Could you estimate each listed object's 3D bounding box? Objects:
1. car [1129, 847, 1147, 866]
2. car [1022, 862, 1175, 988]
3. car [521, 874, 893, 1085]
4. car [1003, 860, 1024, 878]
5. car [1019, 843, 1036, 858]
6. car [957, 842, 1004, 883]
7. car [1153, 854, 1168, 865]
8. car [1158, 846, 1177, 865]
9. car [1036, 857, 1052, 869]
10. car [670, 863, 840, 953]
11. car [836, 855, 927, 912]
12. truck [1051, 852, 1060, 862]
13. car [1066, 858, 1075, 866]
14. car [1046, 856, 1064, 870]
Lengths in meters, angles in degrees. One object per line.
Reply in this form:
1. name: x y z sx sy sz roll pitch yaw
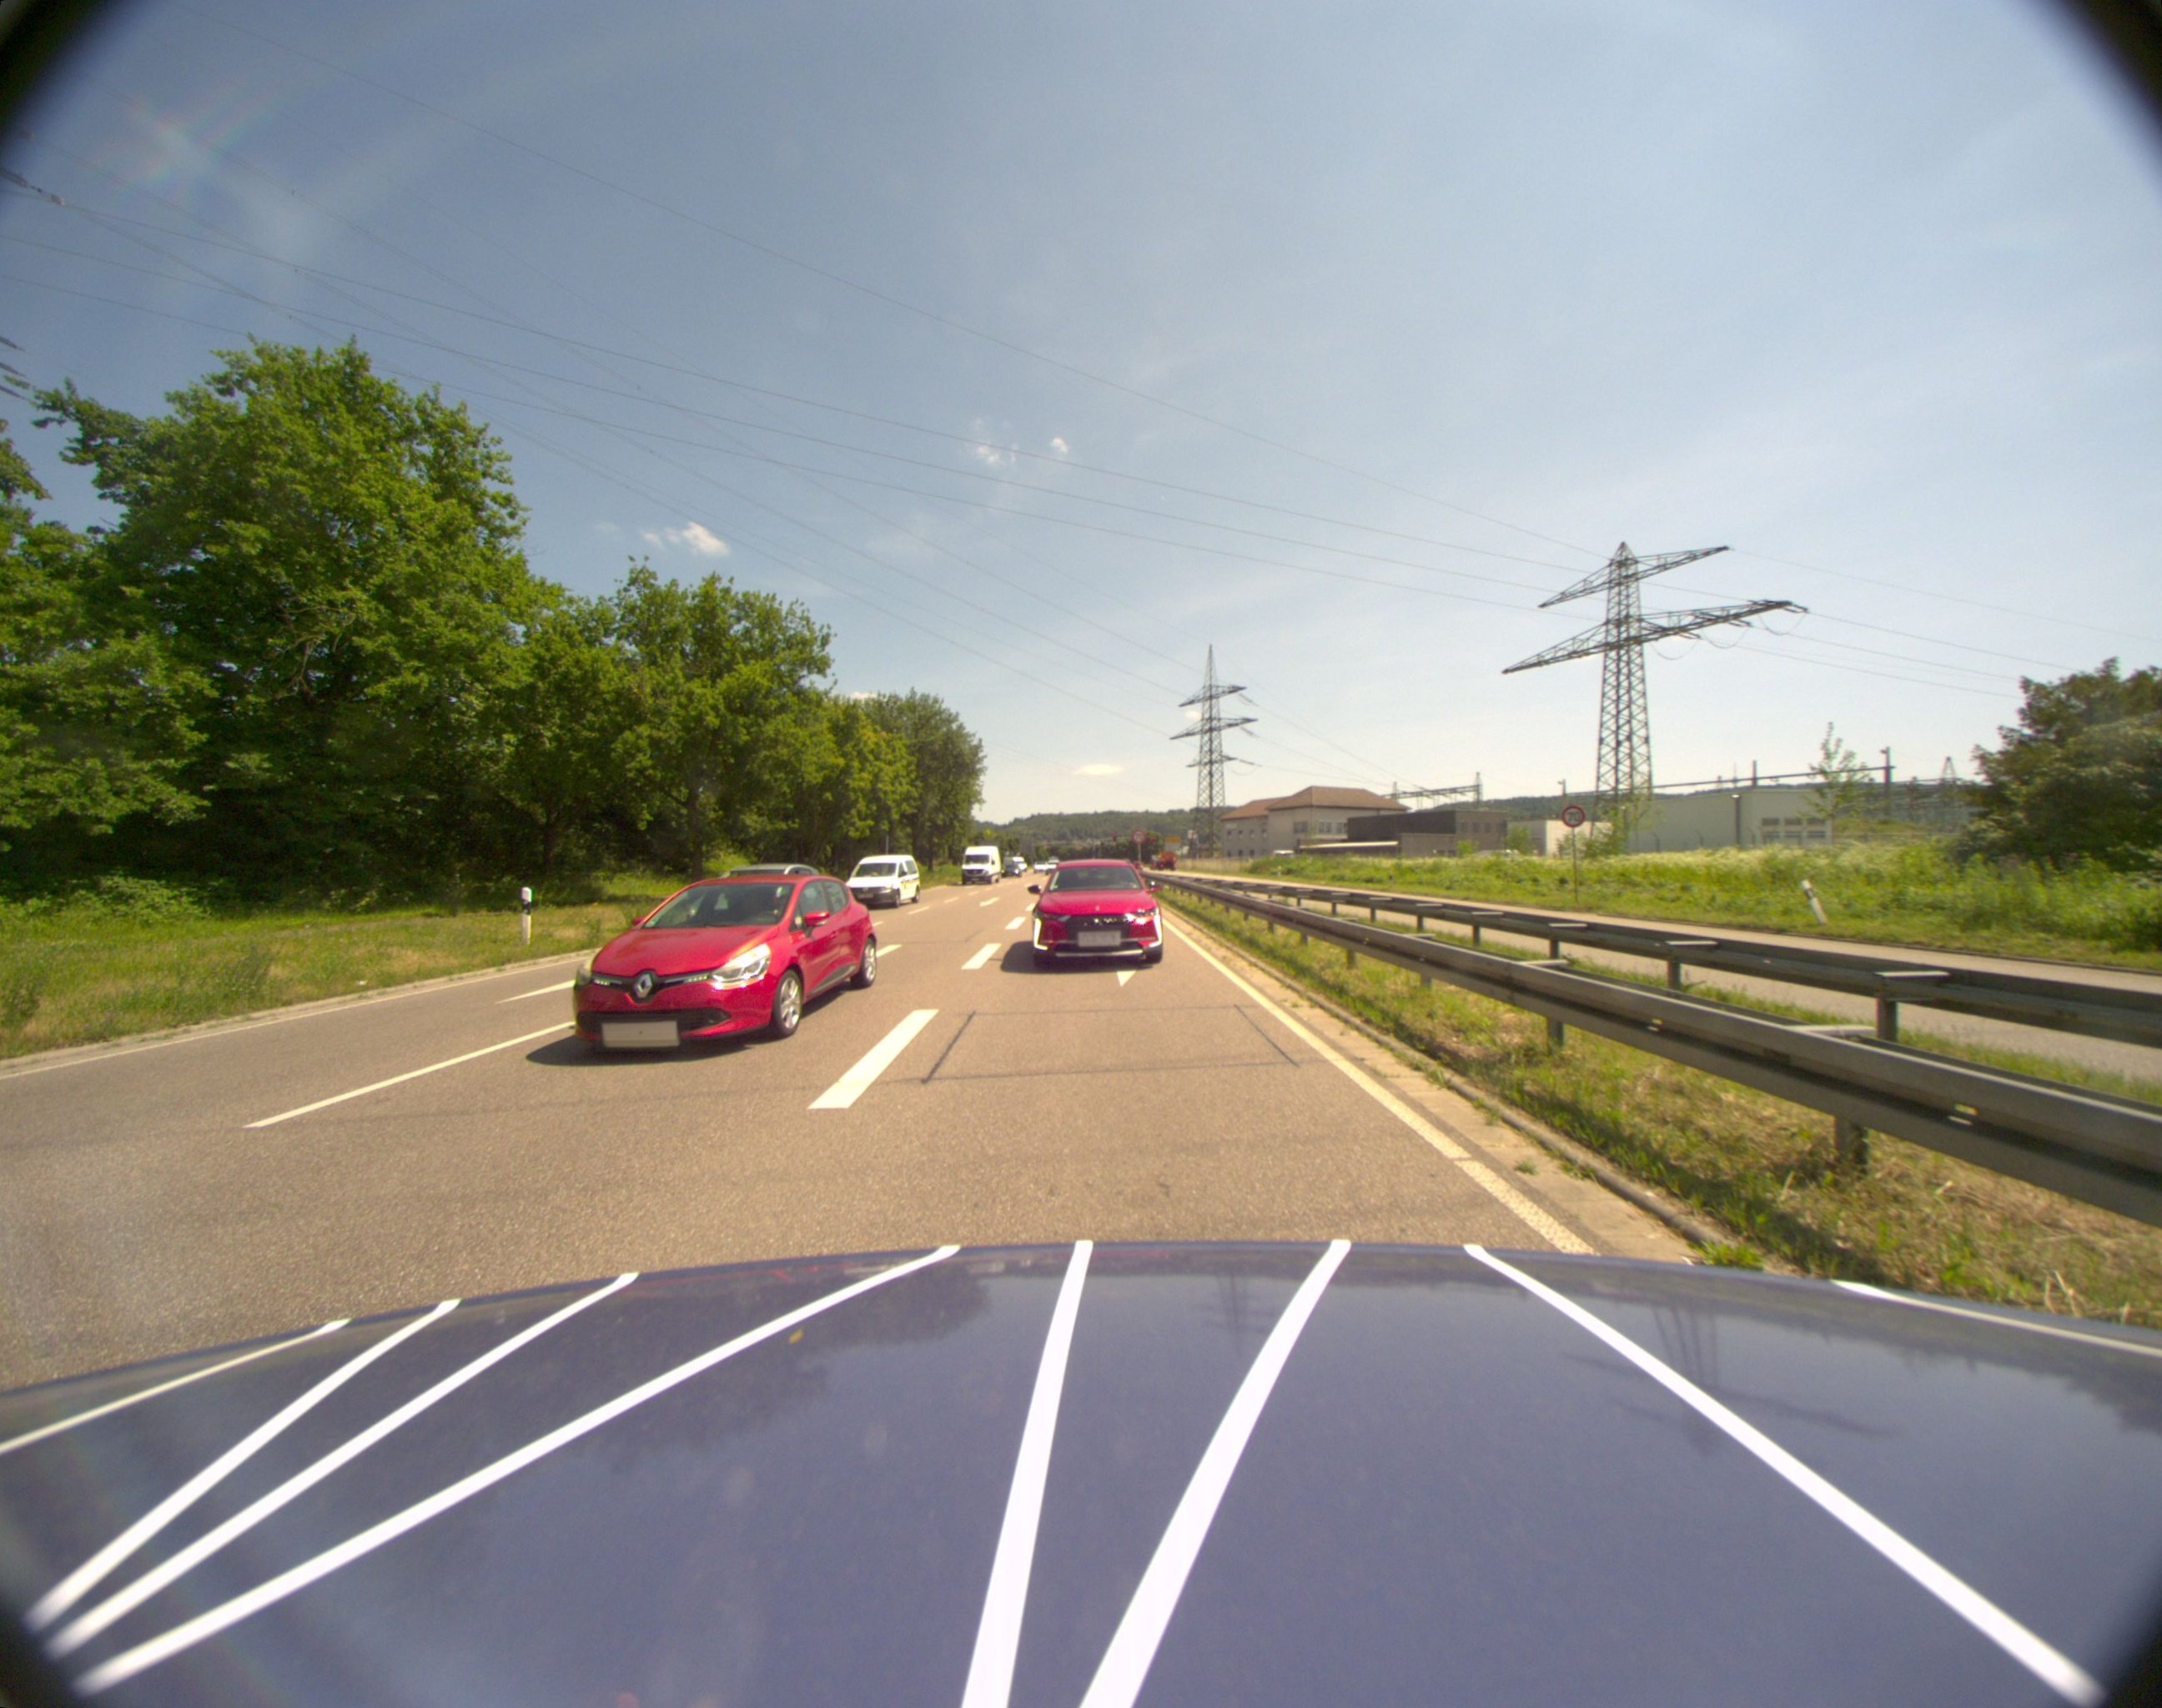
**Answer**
1. car: 9.700 0.409 129.901 2.607 3.043 5.638 0 0 0
2. car: 0.244 0.902 11.636 1.846 1.453 4.414 -2 0 1
3. car: -3.376 1.017 7.865 1.747 1.453 4.065 -2 0 1
4. car: -6.803 1.524 77.130 1.878 1.674 3.999 -2 1 -2
5. car: -8.950 -0.594 127.377 2.308 2.408 5.814 -2 0 1
6. car: -6.881 0.585 53.012 2.232 2.592 7.018 -2 0 0
7. car: 14.093 0.954 135.280 1.999 1.904 3.998 -2 1 -3
8. car: 14.179 0.289 124.862 2.607 3.043 5.638 0 0 0
9. car: -5.020 1.261 104.351 1.850 1.559 4.148 -2 0 1
10. car: -6.846 1.047 16.510 1.747 1.585 4.272 -2 0 1
11. car: -6.932 0.950 26.970 1.809 1.790 5.037 -2 0 0
12. truck: -6.482 0.708 192.054 2.170 2.428 4.909 -2 1 -2
13. car: -2.464 1.876 177.600 1.878 1.674 3.999 -2 1 -2
14. car: -2.924 1.006 86.128 1.850 1.559 4.363 -2 0 1
